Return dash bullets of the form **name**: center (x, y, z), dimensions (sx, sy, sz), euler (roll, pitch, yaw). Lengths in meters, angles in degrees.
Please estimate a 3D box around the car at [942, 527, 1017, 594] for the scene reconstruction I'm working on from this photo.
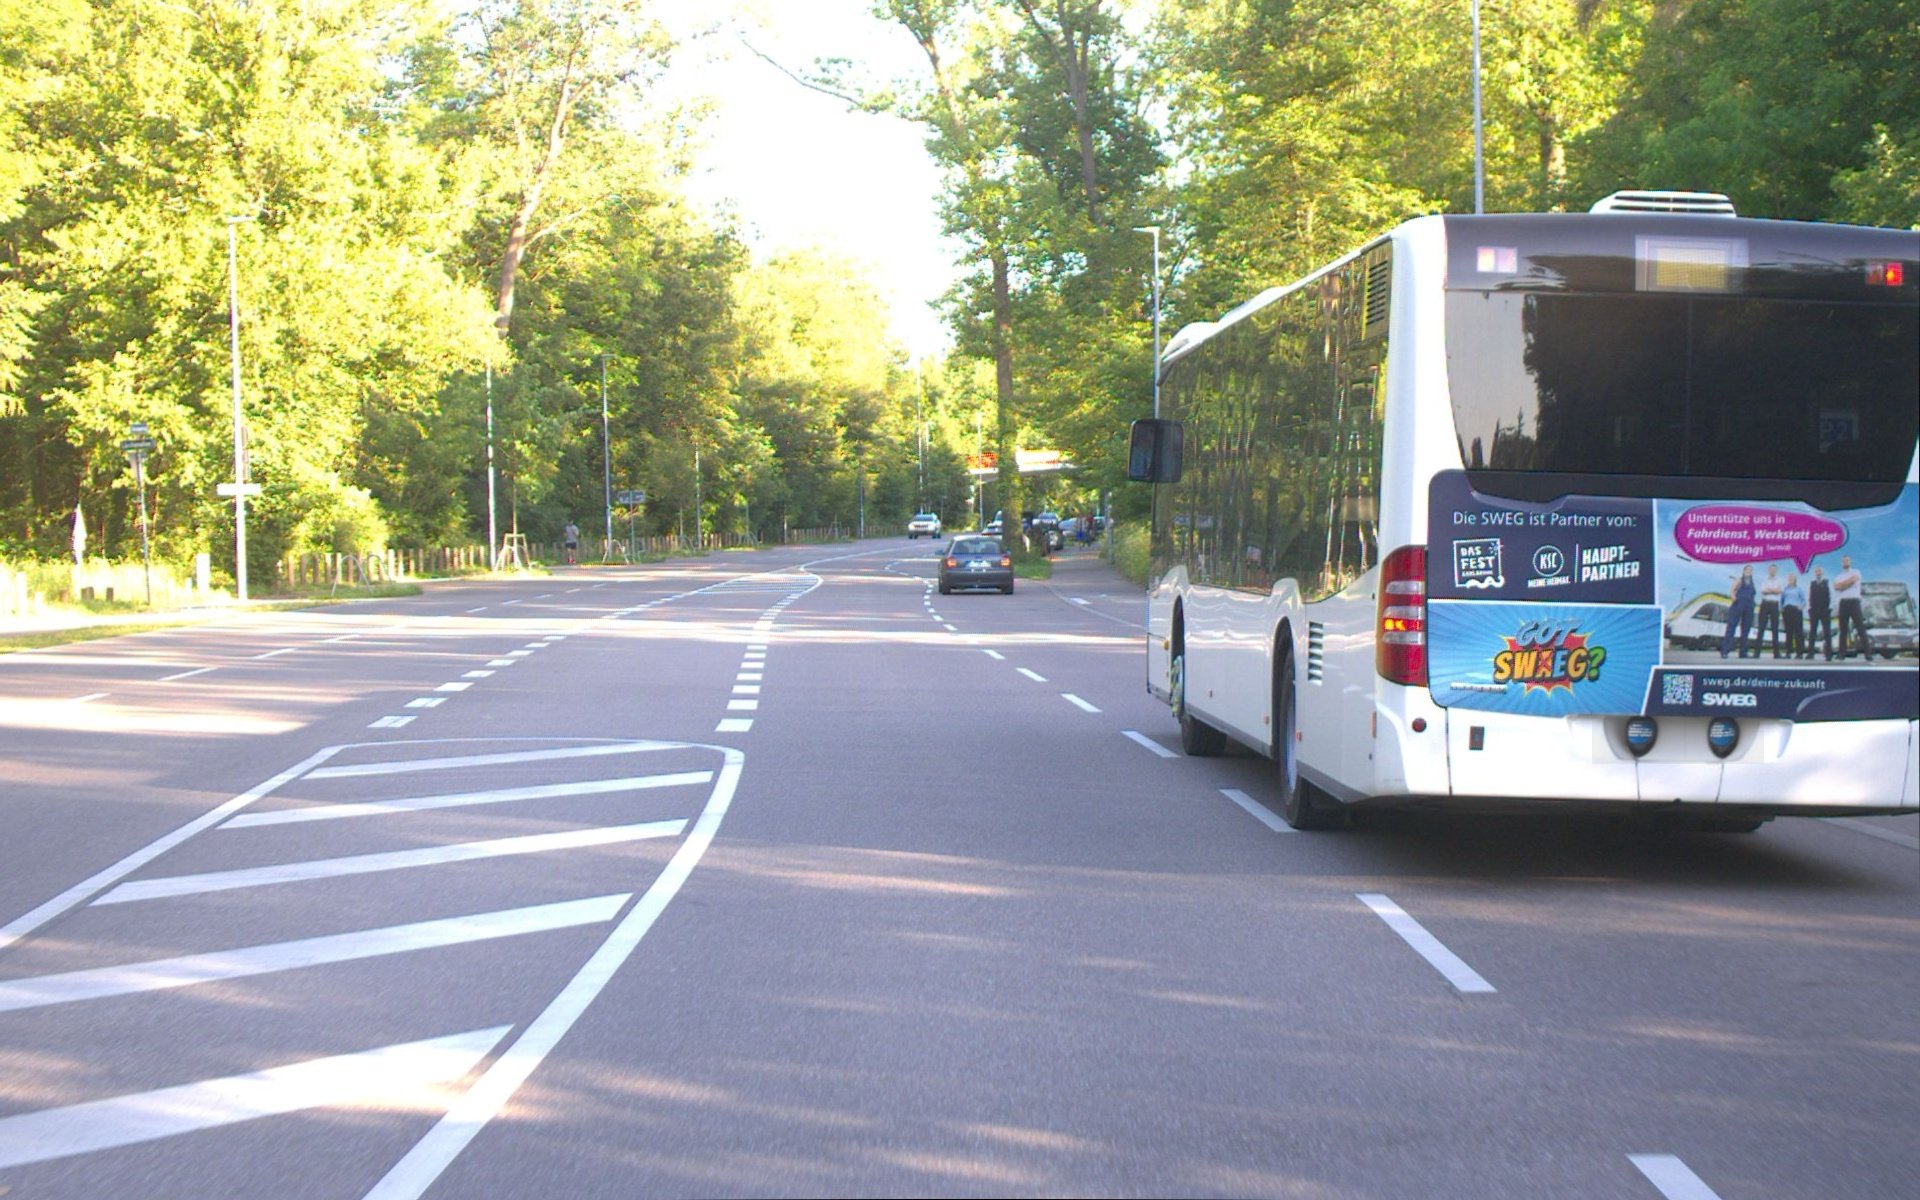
- **car**: center (0.494, -0.966, 82.488), dimensions (1.632, 1.542, 4.132), euler (0, 1, 2)

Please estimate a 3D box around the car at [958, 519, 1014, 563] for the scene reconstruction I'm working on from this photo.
- **car**: center (1.021, -2.309, 134.181), dimensions (1.632, 1.653, 4.131), euler (1, 1, 8)

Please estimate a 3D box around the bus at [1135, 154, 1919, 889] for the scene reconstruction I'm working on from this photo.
- **bus**: center (2.847, -0.428, 20.290), dimensions (2.689, 3.032, 12.042), euler (0, 1, -1)

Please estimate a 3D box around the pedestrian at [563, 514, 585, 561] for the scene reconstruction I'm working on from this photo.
- **pedestrian**: center (-14.941, -2.438, 133.150), dimensions (0.779, 1.806, 0.770), euler (0, 1, -1)

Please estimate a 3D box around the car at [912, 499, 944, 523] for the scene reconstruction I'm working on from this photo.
- **car**: center (-2.124, -5.890, 228.433), dimensions (1.863, 1.532, 4.132), euler (0, 1, 2)
